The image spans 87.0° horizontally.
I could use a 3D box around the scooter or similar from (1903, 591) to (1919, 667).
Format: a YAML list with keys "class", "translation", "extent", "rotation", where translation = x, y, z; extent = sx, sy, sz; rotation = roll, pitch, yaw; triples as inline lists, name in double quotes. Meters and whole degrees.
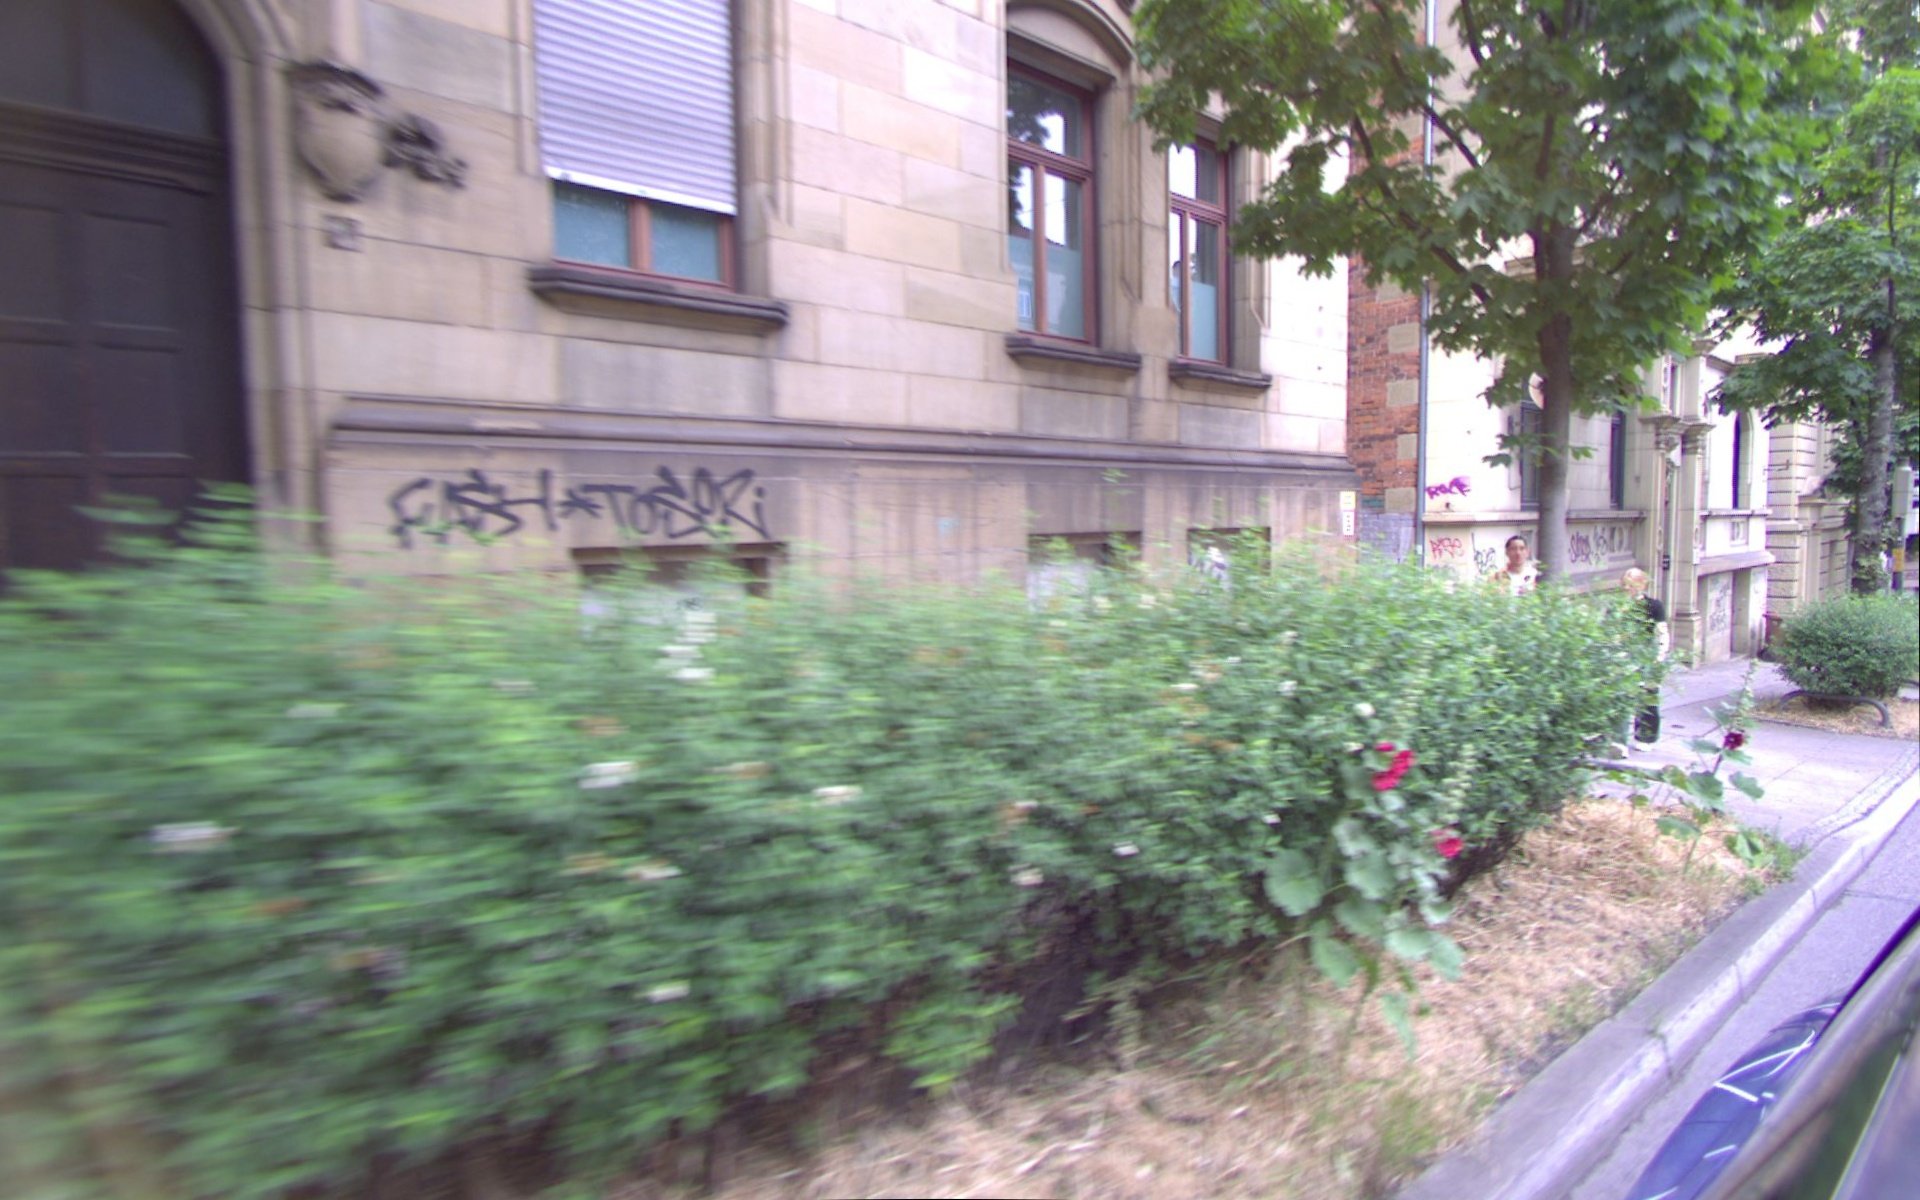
- class: "scooter or similar"
  translation: [17.428, 0.524, 18.064]
  extent: [1.359, 1.319, 0.663]
  rotation: [-1, 5, -41]

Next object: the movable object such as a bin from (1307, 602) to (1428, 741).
- class: "movable object such as a bin"
  translation: [3.340, 0.564, 8.309]
  extent: [0.572, 1.028, 0.672]
  rotation: [3, 2, -43]

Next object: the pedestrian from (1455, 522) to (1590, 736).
- class: "pedestrian"
  translation: [5.224, 0.212, 9.396]
  extent: [1.102, 1.851, 0.687]
  rotation: [-3, 6, -41]

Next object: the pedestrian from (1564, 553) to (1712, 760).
- class: "pedestrian"
  translation: [5.800, 0.422, 8.650]
  extent: [1.195, 1.592, 0.687]
  rotation: [-3, 6, -41]

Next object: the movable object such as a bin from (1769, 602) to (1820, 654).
- class: "movable object such as a bin"
  translation: [16.095, 0.536, 19.529]
  extent: [0.484, 0.930, 0.613]
  rotation: [0, 4, -38]
